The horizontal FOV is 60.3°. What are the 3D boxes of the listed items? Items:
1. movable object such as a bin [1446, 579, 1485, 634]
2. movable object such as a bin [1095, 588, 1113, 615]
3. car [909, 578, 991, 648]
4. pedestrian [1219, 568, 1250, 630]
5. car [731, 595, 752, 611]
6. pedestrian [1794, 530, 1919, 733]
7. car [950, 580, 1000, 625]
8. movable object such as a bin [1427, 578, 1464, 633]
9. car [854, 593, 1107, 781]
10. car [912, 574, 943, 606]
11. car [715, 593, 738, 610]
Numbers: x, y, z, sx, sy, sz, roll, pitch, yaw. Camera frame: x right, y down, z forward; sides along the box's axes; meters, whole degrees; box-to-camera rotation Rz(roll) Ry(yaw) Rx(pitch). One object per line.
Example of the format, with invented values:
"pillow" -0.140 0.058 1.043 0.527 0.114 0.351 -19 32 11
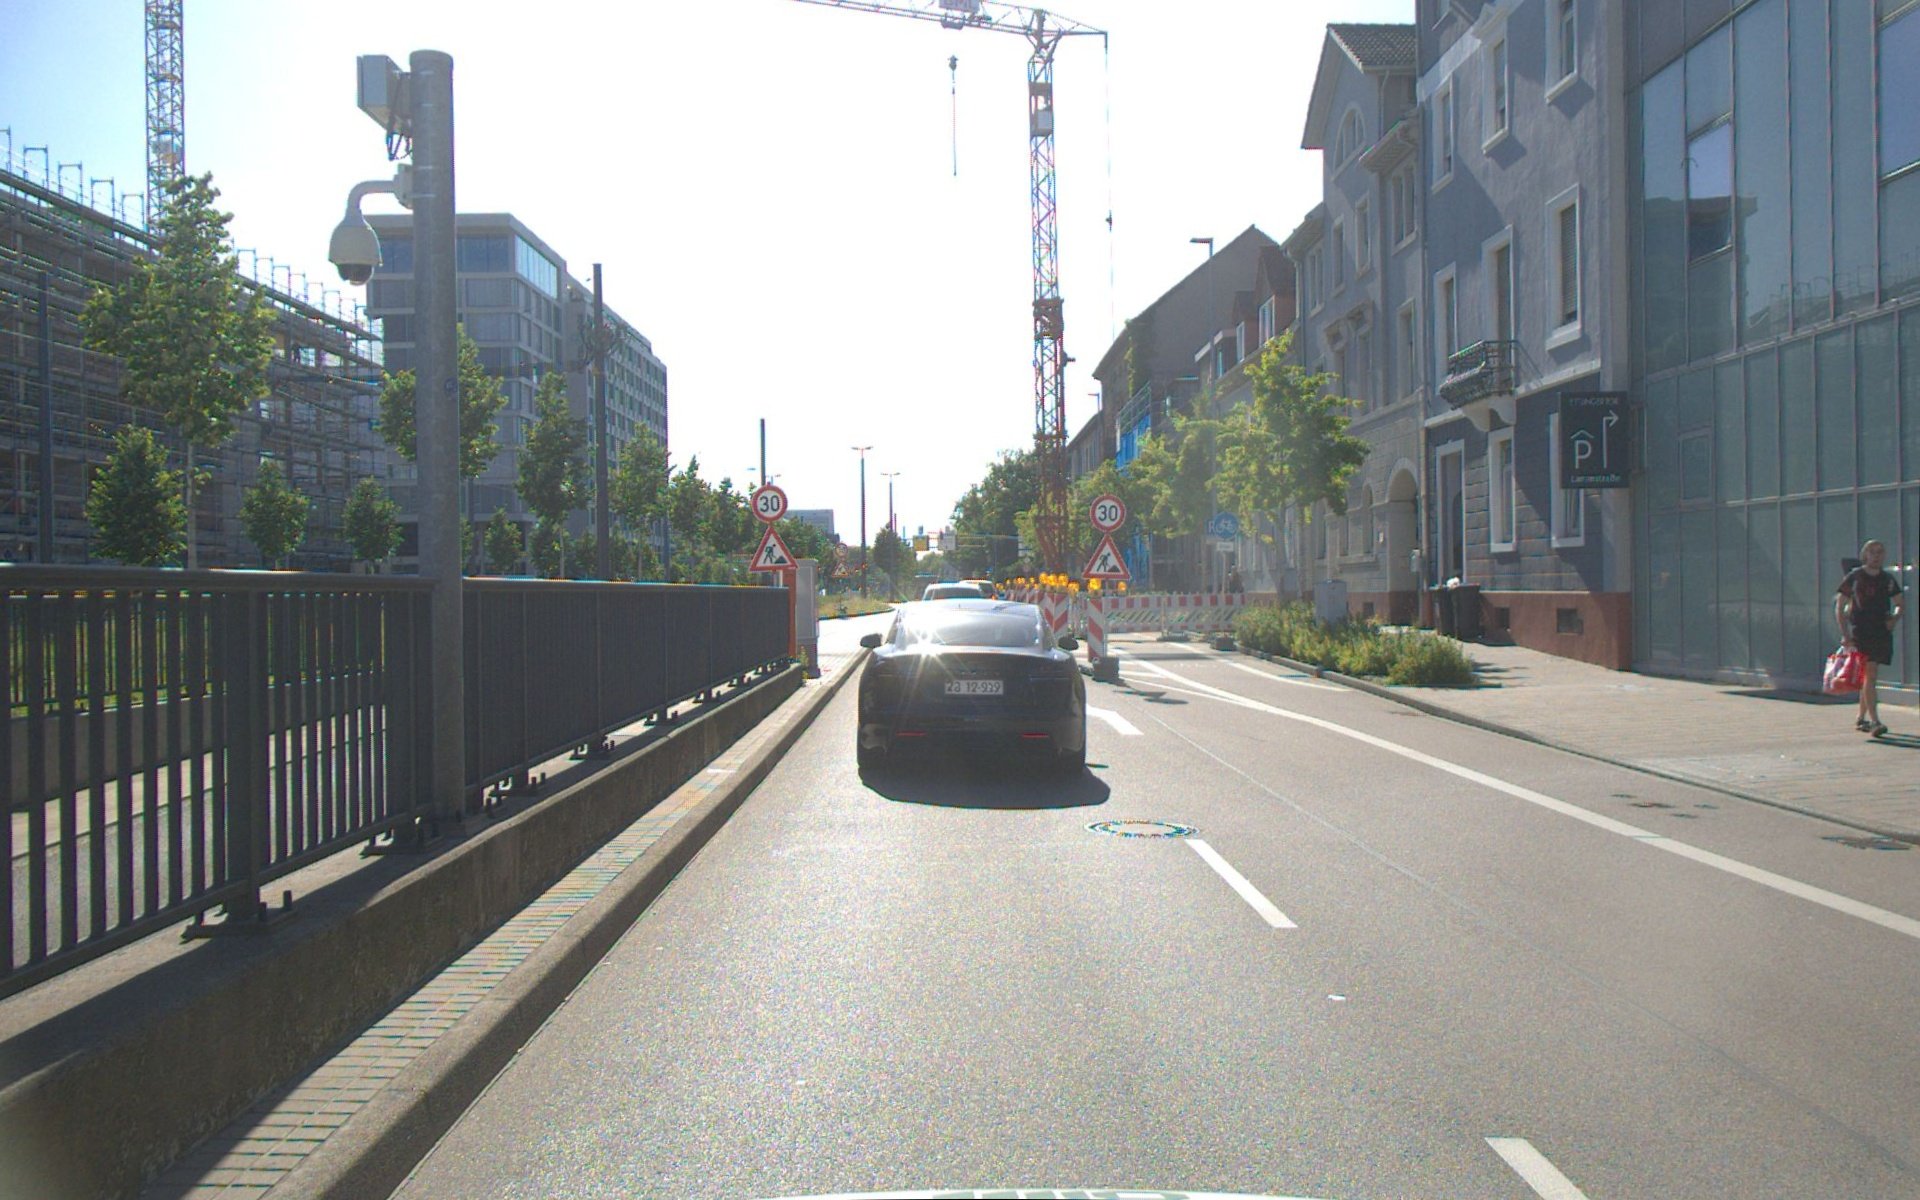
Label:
"movable object such as a bin" 10.282 0.131 33.664 0.590 1.101 0.704 0 0 0
"movable object such as a bin" 5.930 0.047 68.205 0.583 1.076 0.730 -4 0 0
"car" -0.244 0.243 37.005 1.712 1.452 4.837 0 0 -1
"pedestrian" 8.825 -0.028 53.125 0.779 1.962 0.768 0 0 -11
"car" -23.965 0.305 181.303 1.754 1.680 4.000 -1 0 0
"pedestrian" 9.196 0.302 16.824 0.857 1.957 0.895 -3 1 -1
"car" 0.523 0.077 58.416 1.714 1.554 4.005 0 0 0
"movable object such as a bin" 10.118 0.105 34.479 0.576 1.127 0.704 0 0 0
"car" 0.133 0.681 15.417 2.009 1.469 4.523 0 0 -1
"car" -2.404 -0.772 121.544 2.173 2.307 4.483 0 1 -2
"car" -24.416 0.121 172.984 1.754 1.680 4.000 -1 0 0
